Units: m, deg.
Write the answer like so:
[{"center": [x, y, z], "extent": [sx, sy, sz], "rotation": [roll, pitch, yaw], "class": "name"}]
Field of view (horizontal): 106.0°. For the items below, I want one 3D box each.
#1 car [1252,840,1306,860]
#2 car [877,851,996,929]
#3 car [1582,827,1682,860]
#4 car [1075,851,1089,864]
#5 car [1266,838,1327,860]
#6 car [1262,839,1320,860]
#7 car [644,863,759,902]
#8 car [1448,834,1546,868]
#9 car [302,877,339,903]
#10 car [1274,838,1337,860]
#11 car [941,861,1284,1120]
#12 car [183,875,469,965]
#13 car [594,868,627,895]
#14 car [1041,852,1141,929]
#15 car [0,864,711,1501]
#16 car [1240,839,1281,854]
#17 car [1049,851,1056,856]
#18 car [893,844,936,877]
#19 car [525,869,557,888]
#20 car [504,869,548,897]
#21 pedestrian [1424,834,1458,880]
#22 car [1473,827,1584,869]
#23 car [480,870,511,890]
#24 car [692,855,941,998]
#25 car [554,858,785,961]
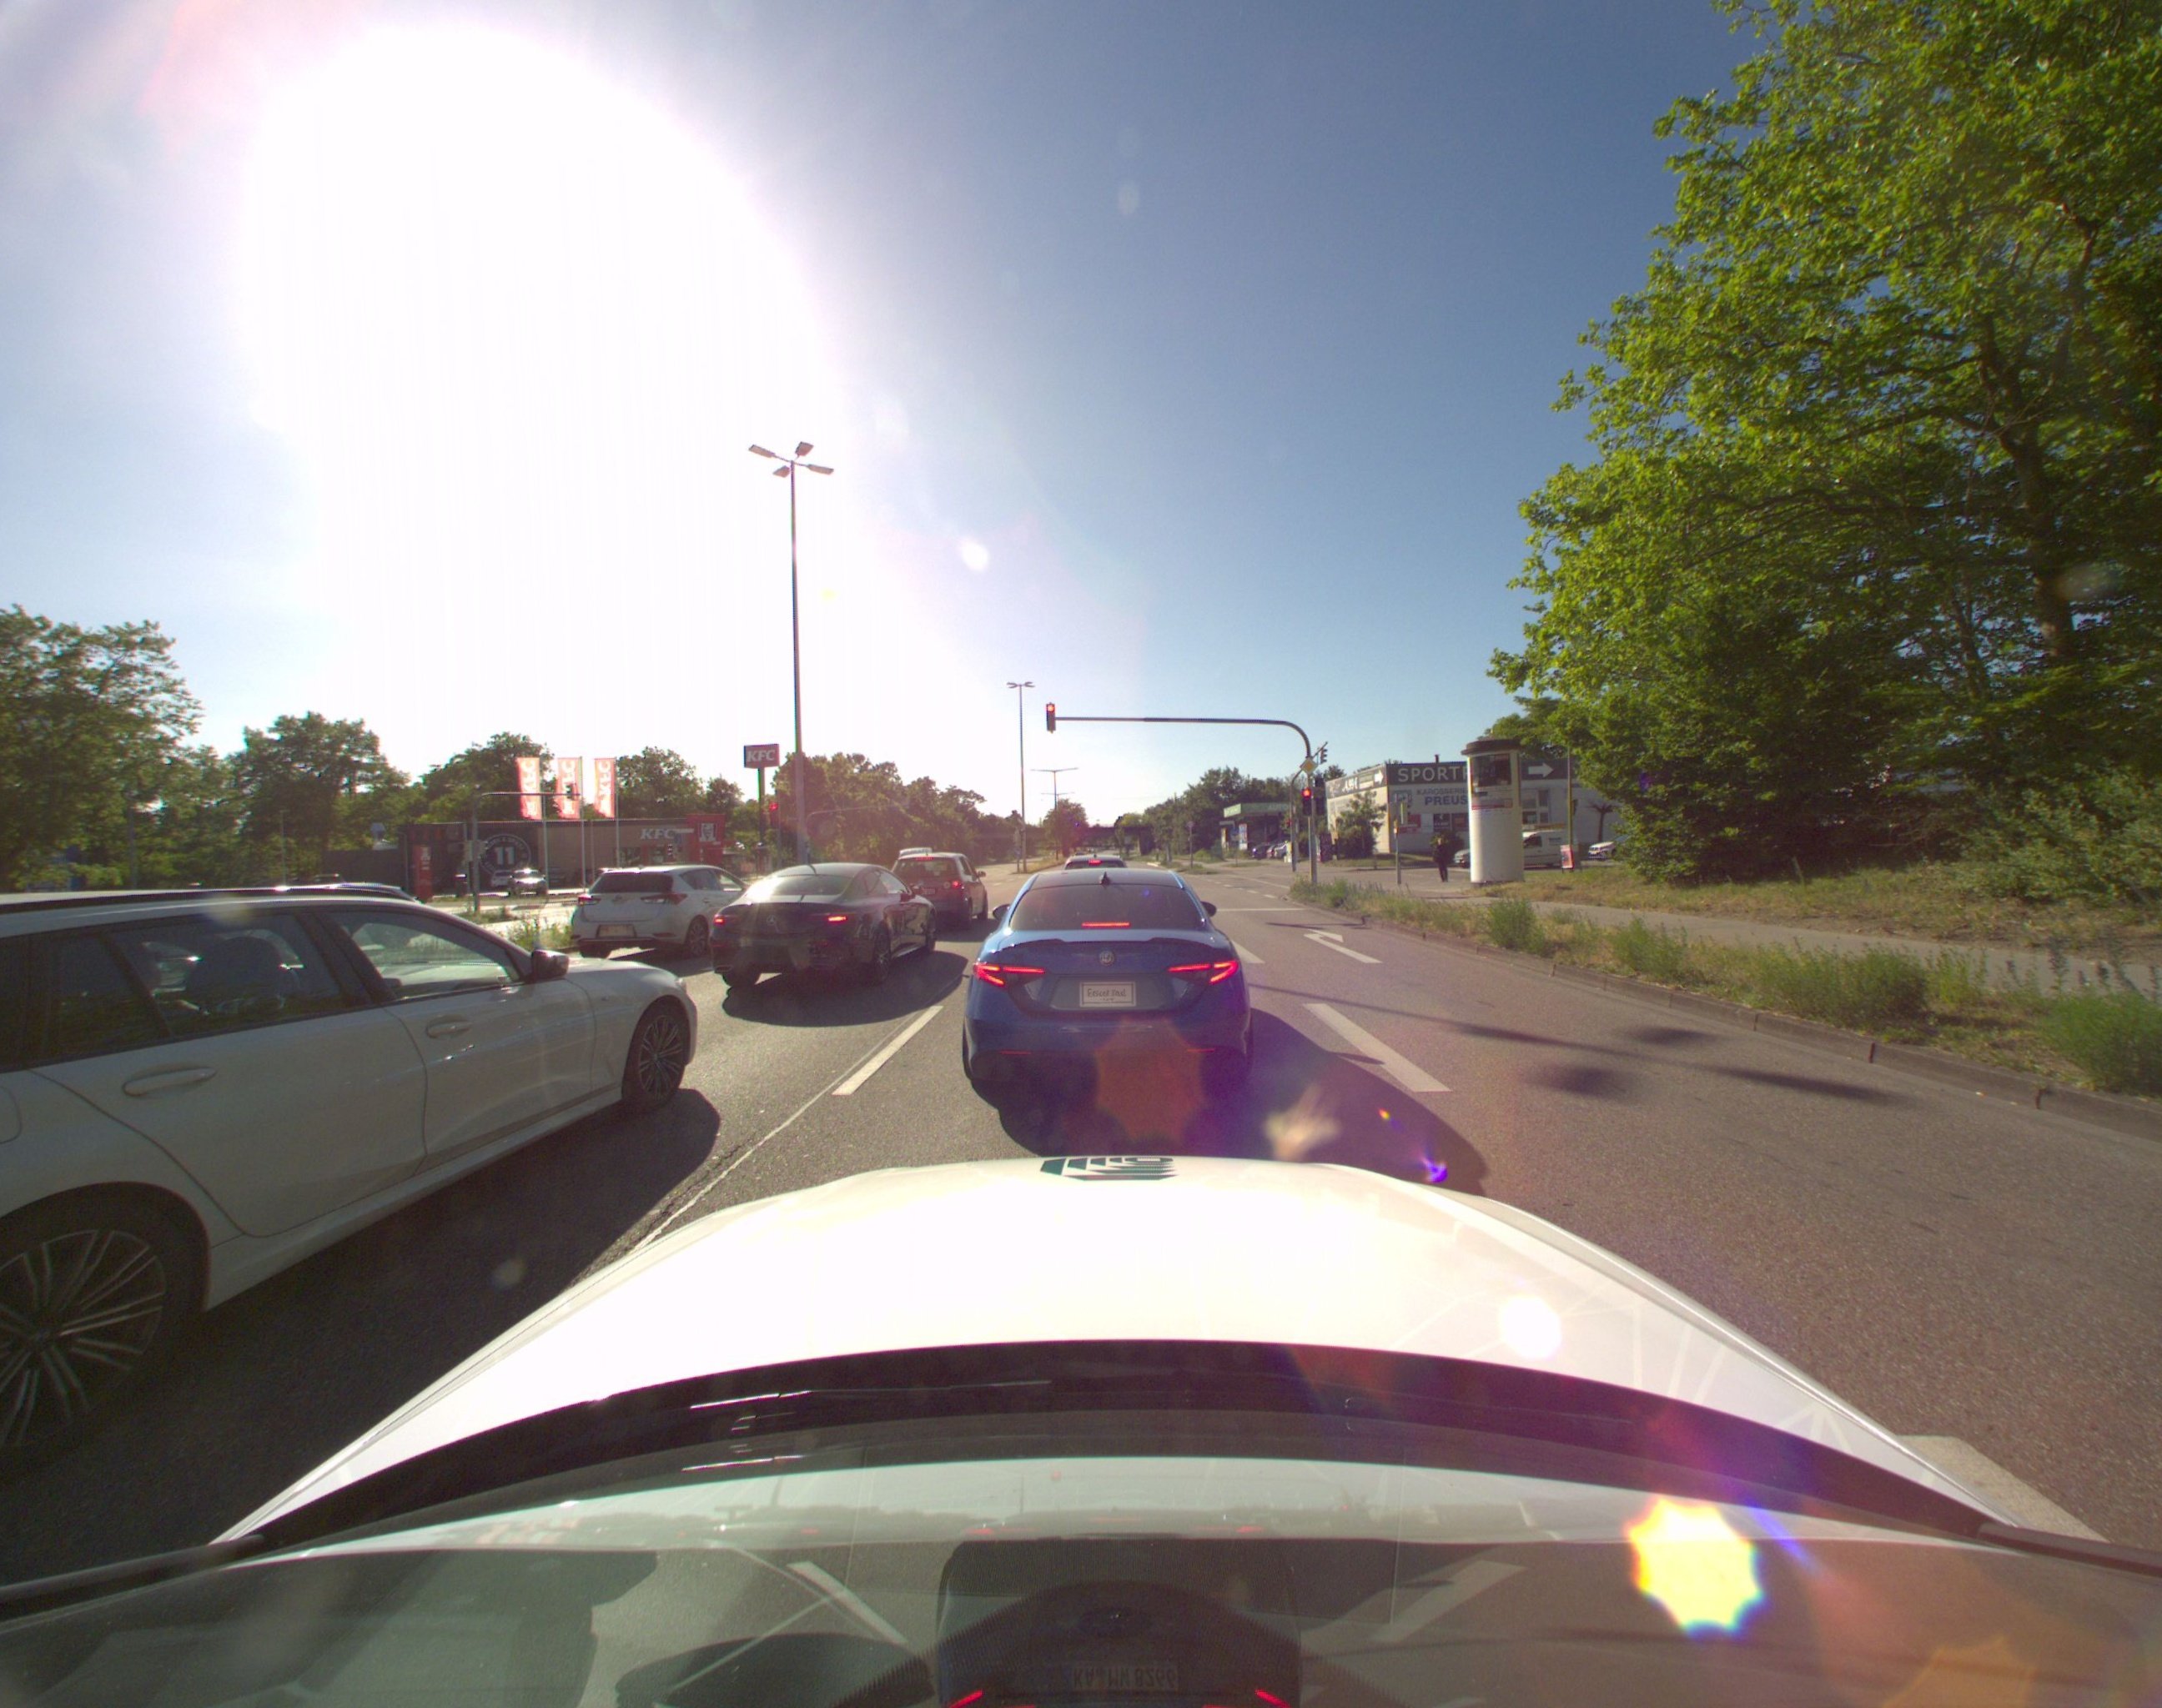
[{"center": [17.948, -0.348, 73.911], "extent": [4.470, 1.454, 1.860], "rotation": [-4, 0, 3], "class": "car"}, {"center": [-3.024, 0.717, 17.919], "extent": [1.753, 1.490, 4.403], "rotation": [0, 0, 1], "class": "car"}, {"center": [28.860, -0.524, 42.727], "extent": [4.028, 1.490, 1.782], "rotation": [-3, 0, -1], "class": "car"}, {"center": [0.202, 0.548, 119.580], "extent": [1.884, 1.816, 4.001], "rotation": [0, -1, 2], "class": "car"}, {"center": [17.711, -0.405, 67.108], "extent": [4.470, 1.454, 1.860], "rotation": [-4, 0, 3], "class": "car"}, {"center": [17.988, -0.376, 69.857], "extent": [4.470, 1.454, 1.860], "rotation": [-4, 0, 3], "class": "car"}, {"center": [-17.341, 1.280, 37.335], "extent": [4.392, 1.490, 1.766], "rotation": [-4, 0, 3], "class": "car"}, {"center": [21.768, -0.192, 42.718], "extent": [4.273, 1.549, 1.765], "rotation": [-3, 1, 0], "class": "car"}, {"center": [-52.370, 2.463, 56.103], "extent": [1.670, 1.673, 3.897], "rotation": [0, -1, -40], "class": "car"}, {"center": [17.705, -0.419, 64.327], "extent": [4.470, 1.454, 1.860], "rotation": [-4, 0, 3], "class": "car"}, {"center": [0.207, 0.775, 6.720], "extent": [1.889, 1.418, 4.403], "rotation": [0, 0, 1], "class": "car"}, {"center": [-15.322, 1.256, 16.930], "extent": [1.721, 1.409, 4.308], "rotation": [-4, 0, 2], "class": "car"}, {"center": [-33.665, 1.933, 58.348], "extent": [1.920, 1.752, 4.315], "rotation": [0, -1, -29], "class": "car"}, {"center": [0.218, 0.696, 17.363], "extent": [1.844, 1.418, 4.403], "rotation": [0, 0, 1], "class": "car"}, {"center": [-3.427, 0.801, 3.311], "extent": [1.779, 1.490, 4.403], "rotation": [0, 0, 1], "class": "car"}, {"center": [21.392, -0.875, 97.020], "extent": [4.532, 1.490, 1.766], "rotation": [-4, 0, 3], "class": "car"}, {"center": [-8.252, -0.195, 236.175], "extent": [1.752, 1.490, 4.480], "rotation": [-3, 0, 2], "class": "car"}, {"center": [-13.706, 0.511, 67.209], "extent": [2.015, 2.447, 5.823], "rotation": [-5, 0, 1], "class": "car"}, {"center": [-43.143, 1.956, 65.067], "extent": [1.670, 1.471, 3.872], "rotation": [0, -1, -40], "class": "car"}, {"center": [-37.334, 1.938, 54.868], "extent": [2.005, 1.765, 4.315], "rotation": [0, -1, -29], "class": "car"}, {"center": [14.065, 0.115, 31.820], "extent": [0.922, 1.735, 0.939], "rotation": [0, -1, 1], "class": "pedestrian"}, {"center": [21.597, -0.325, 39.384], "extent": [4.367, 1.801, 1.765], "rotation": [-3, 1, 0], "class": "car"}, {"center": [-45.636, 2.024, 63.414], "extent": [1.670, 1.471, 3.872], "rotation": [0, -1, -40], "class": "car"}, {"center": [-3.170, 0.782, 10.816], "extent": [1.790, 1.490, 4.476], "rotation": [0, 0, 1], "class": "car"}, {"center": [-6.749, 0.826, 13.944], "extent": [1.753, 1.490, 4.197], "rotation": [0, -1, 1], "class": "car"}]
